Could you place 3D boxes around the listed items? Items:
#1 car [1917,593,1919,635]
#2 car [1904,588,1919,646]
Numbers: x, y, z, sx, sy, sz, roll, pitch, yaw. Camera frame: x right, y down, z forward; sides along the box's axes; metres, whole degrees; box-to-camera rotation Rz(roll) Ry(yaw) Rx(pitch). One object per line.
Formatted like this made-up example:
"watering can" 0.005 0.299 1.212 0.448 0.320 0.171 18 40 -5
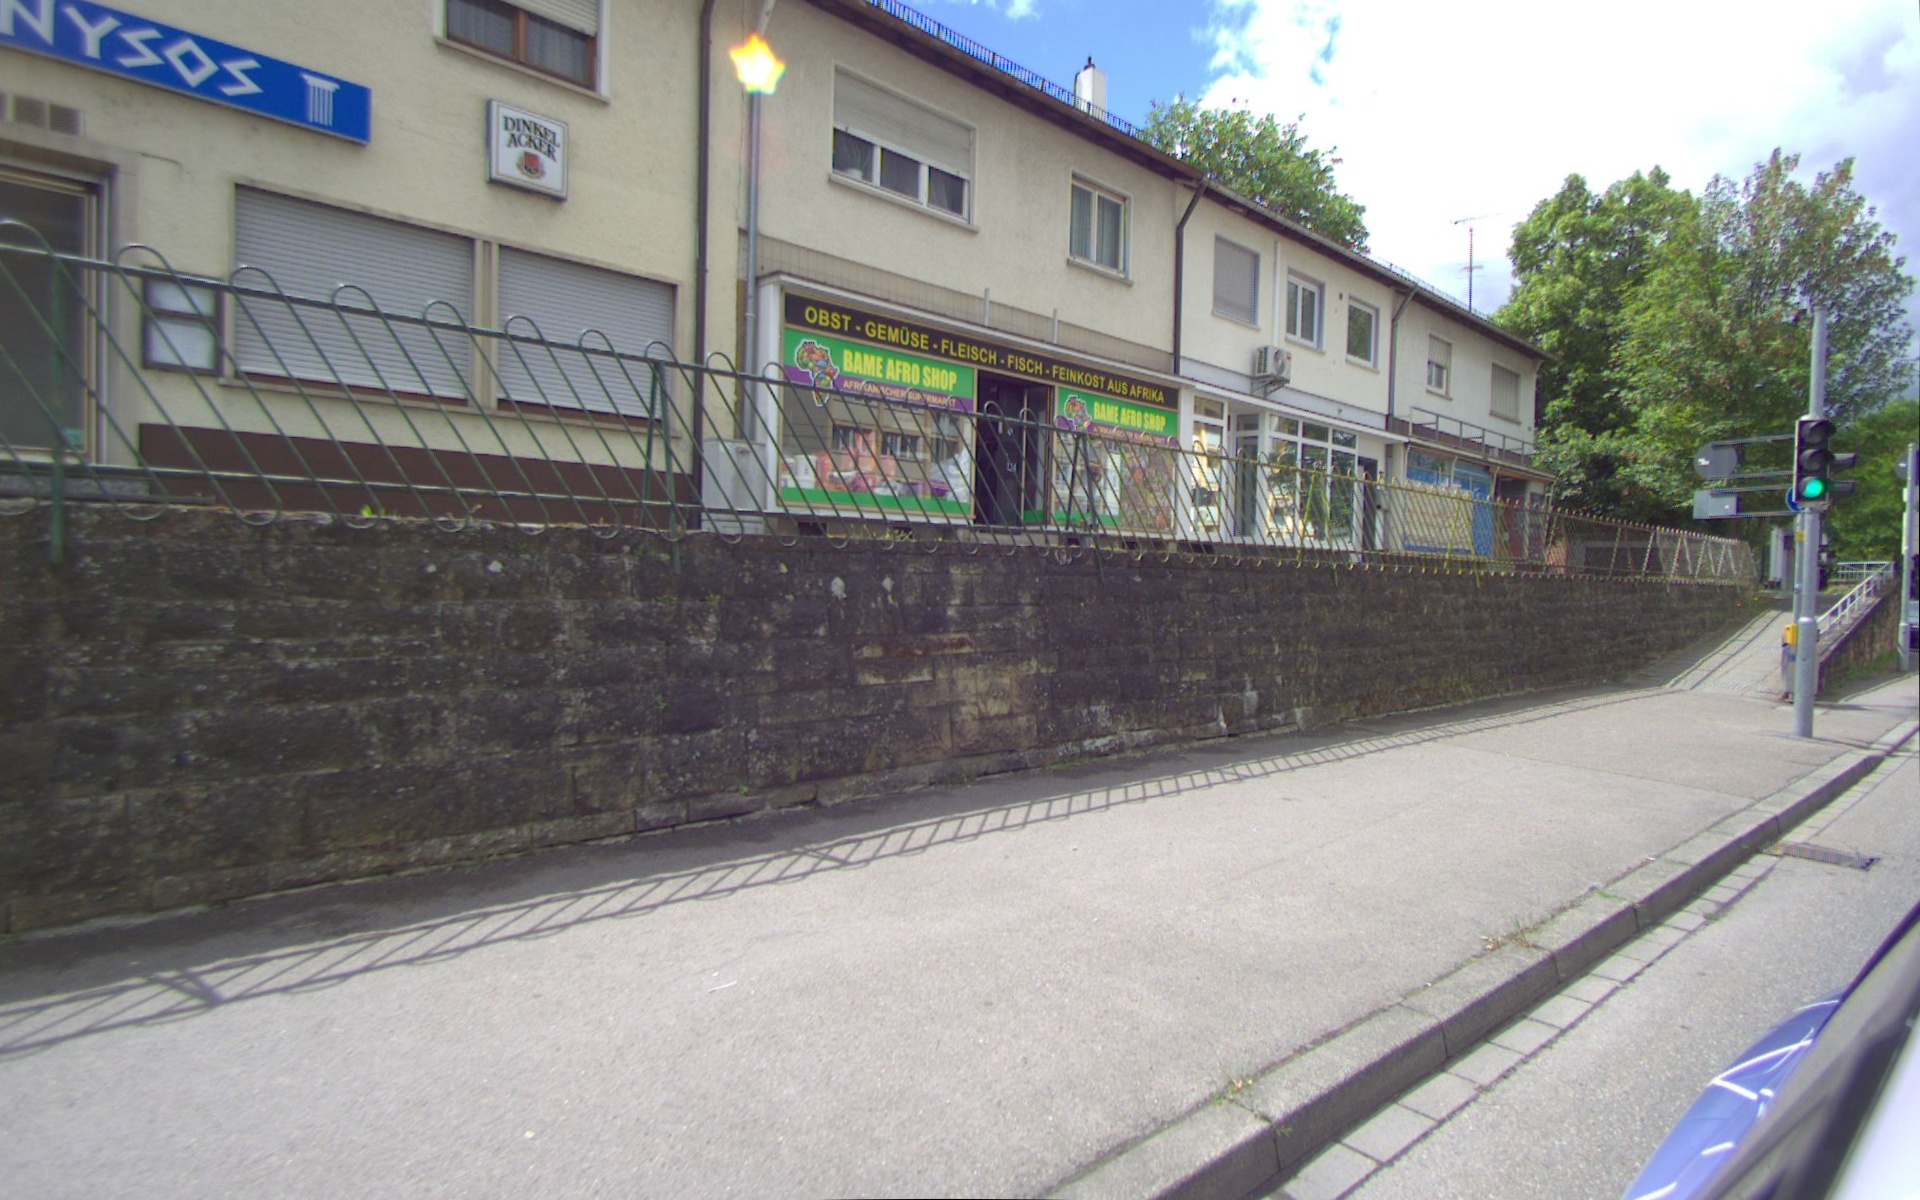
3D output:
"car" 36.845 0.535 37.559 1.757 1.587 4.107 4 3 45
"car" 28.392 0.505 29.029 1.756 1.599 3.957 3 2 45
